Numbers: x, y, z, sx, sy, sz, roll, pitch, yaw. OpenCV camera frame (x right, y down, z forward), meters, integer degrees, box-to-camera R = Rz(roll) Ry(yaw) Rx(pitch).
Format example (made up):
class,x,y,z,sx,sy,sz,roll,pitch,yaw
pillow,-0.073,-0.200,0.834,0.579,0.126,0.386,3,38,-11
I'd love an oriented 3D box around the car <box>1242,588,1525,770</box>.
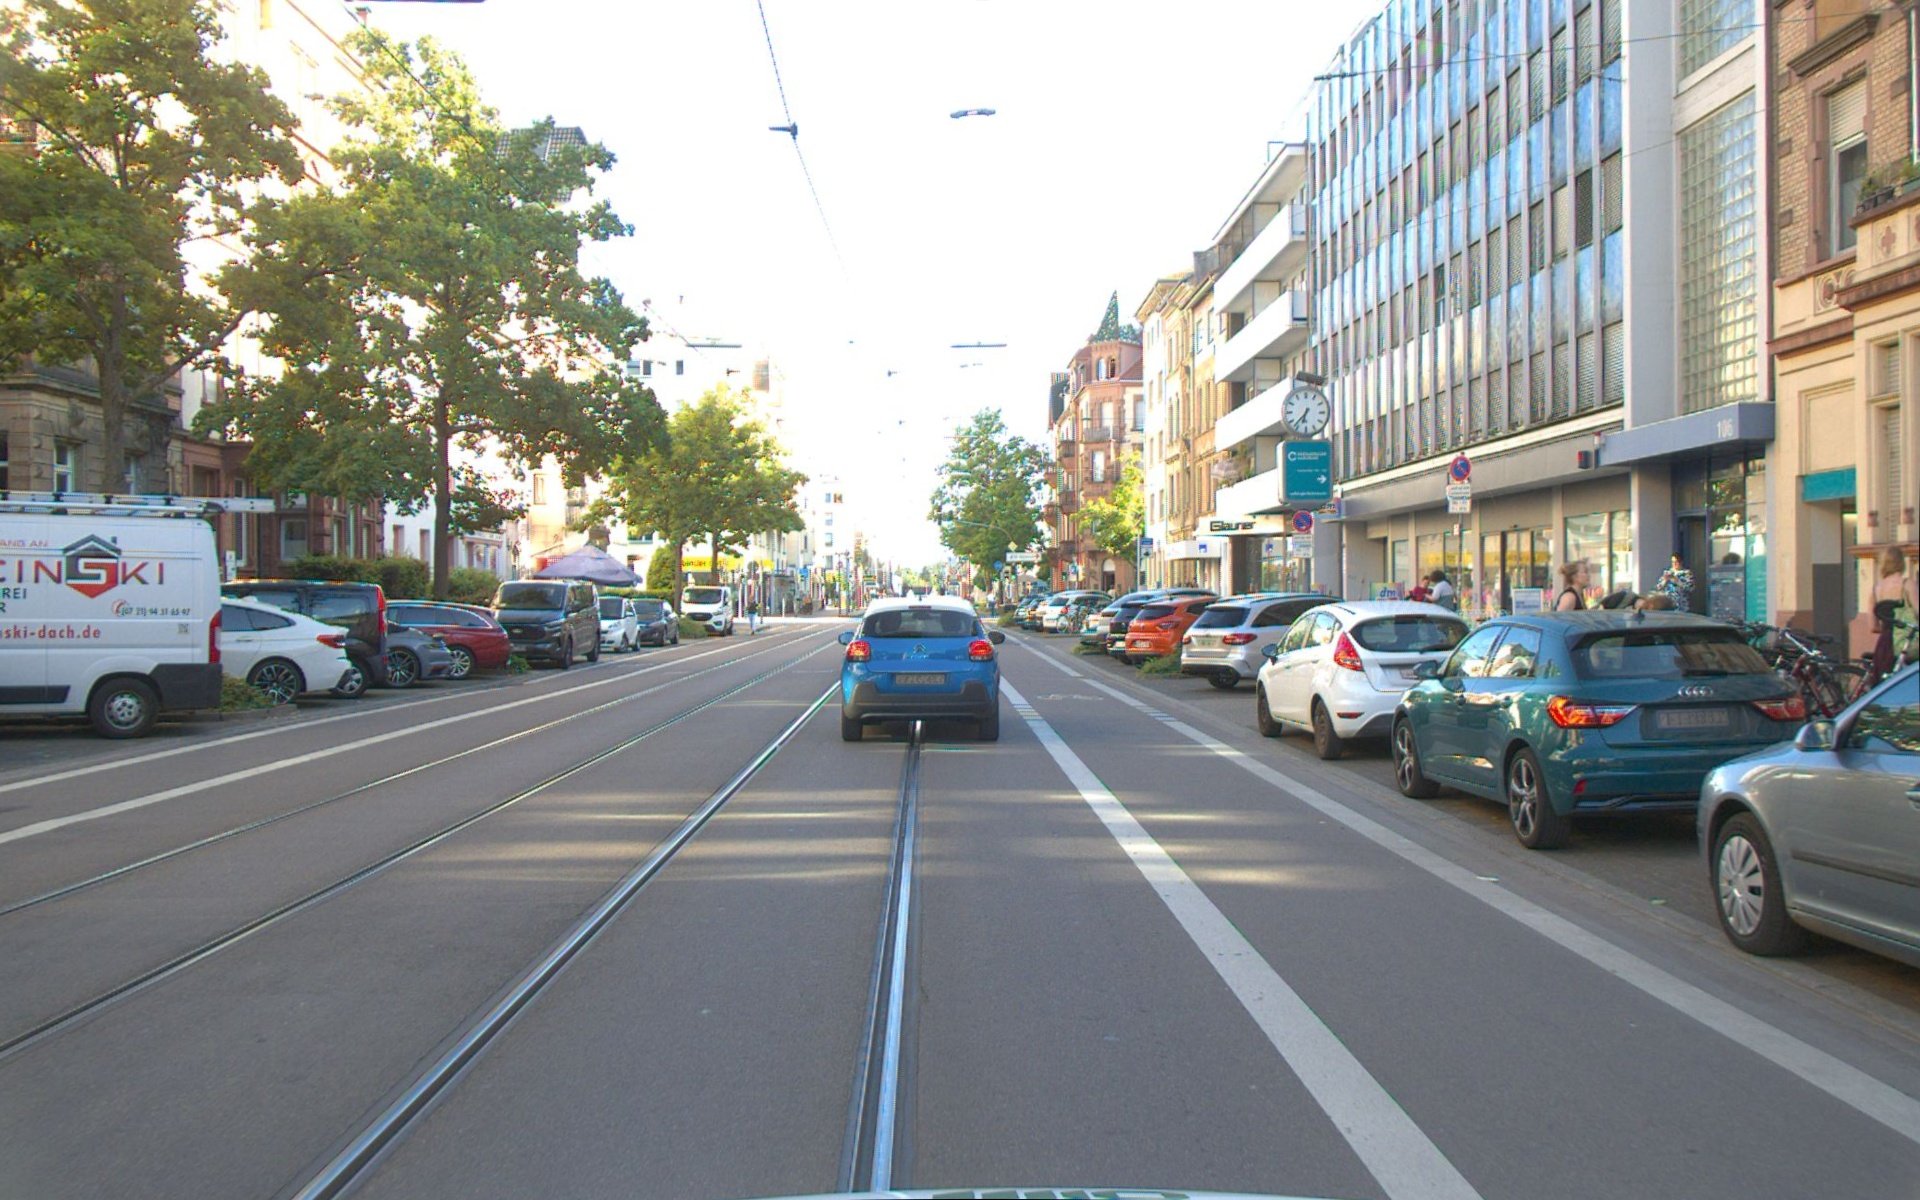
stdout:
class,x,y,z,sx,sy,sz,roll,pitch,yaw
car,4.159,0.722,16.906,1.835,1.624,3.999,0,0,-1

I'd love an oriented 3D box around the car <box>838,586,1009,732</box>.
class,x,y,z,sx,sy,sz,roll,pitch,yaw
car,-0.404,0.607,18.519,1.726,1.466,3.556,0,0,-1

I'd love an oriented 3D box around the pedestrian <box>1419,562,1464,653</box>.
class,x,y,z,sx,sy,sz,roll,pitch,yaw
pedestrian,9.569,0.151,32.900,0.678,1.787,0.678,0,-1,-1

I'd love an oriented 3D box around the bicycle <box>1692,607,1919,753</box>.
class,x,y,z,sx,sy,sz,roll,pitch,yaw
bicycle,7.580,0.693,14.564,1.978,1.243,0.663,0,0,-2

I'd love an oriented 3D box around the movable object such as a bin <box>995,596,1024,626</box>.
class,x,y,z,sx,sy,sz,roll,pitch,yaw
movable object such as a bin,2.508,0.558,84.108,1.366,1.509,1.655,0,0,-1

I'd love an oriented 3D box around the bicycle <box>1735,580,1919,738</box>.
class,x,y,z,sx,sy,sz,roll,pitch,yaw
bicycle,7.669,0.470,13.398,2.487,1.243,0.663,0,0,-2

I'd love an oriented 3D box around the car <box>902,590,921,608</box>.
class,x,y,z,sx,sy,sz,roll,pitch,yaw
car,-3.844,-0.070,131.034,1.394,1.457,3.138,0,0,-1

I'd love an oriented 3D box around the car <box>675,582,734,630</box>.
class,x,y,z,sx,sy,sz,roll,pitch,yaw
car,-10.352,0.230,67.236,1.794,1.880,4.213,0,0,-1

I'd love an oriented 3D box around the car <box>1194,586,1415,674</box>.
class,x,y,z,sx,sy,sz,roll,pitch,yaw
car,6.308,0.529,30.219,3.735,1.513,1.819,1,0,-31

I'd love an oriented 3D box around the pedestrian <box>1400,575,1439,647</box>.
class,x,y,z,sx,sy,sz,roll,pitch,yaw
pedestrian,10.330,0.249,37.232,0.678,1.615,0.678,0,-1,-1

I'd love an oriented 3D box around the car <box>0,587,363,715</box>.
class,x,y,z,sx,sy,sz,roll,pitch,yaw
car,-10.971,0.670,23.084,4.713,1.646,1.692,1,0,-34

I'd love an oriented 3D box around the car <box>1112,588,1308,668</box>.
class,x,y,z,sx,sy,sz,roll,pitch,yaw
car,5.142,0.552,33.921,3.686,1.547,1.945,1,0,-34

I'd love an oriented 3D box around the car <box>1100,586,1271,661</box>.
class,x,y,z,sx,sy,sz,roll,pitch,yaw
car,4.989,0.502,36.532,3.409,1.582,1.804,1,0,-33

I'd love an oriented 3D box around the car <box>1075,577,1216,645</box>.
class,x,y,z,sx,sy,sz,roll,pitch,yaw
car,4.758,0.290,42.190,3.417,1.668,1.662,1,0,-38

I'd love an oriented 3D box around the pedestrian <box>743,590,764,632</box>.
class,x,y,z,sx,sy,sz,roll,pitch,yaw
pedestrian,-8.660,0.461,69.254,0.720,1.756,0.623,1,-1,-25

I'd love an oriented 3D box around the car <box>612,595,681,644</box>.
class,x,y,z,sx,sy,sz,roll,pitch,yaw
car,-10.138,0.614,53.721,1.713,1.513,4.038,0,0,-4

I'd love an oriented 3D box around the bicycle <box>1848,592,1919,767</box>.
class,x,y,z,sx,sy,sz,roll,pitch,yaw
bicycle,7.683,0.559,12.115,2.015,1.243,0.663,0,0,-3

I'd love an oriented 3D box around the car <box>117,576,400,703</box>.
class,x,y,z,sx,sy,sz,roll,pitch,yaw
car,-10.948,0.595,25.892,3.939,1.848,1.698,1,0,-27

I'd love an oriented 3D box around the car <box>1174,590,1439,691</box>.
class,x,y,z,sx,sy,sz,roll,pitch,yaw
car,5.678,0.632,26.925,4.394,1.534,1.520,1,0,-31

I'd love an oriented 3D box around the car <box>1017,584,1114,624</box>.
class,x,y,z,sx,sy,sz,roll,pitch,yaw
car,4.343,0.189,68.281,3.601,1.601,1.850,1,0,-21

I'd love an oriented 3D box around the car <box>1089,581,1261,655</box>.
class,x,y,z,sx,sy,sz,roll,pitch,yaw
car,5.130,0.433,39.442,3.686,1.681,2.024,1,0,-34

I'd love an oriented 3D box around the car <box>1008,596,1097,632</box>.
class,x,y,z,sx,sy,sz,roll,pitch,yaw
car,4.182,0.640,74.873,3.601,1.561,1.778,1,0,-21

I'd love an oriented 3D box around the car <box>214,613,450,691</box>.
class,x,y,z,sx,sy,sz,roll,pitch,yaw
car,-11.013,0.887,29.017,3.751,1.287,1.503,1,0,-27

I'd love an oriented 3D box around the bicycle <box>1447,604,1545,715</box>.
class,x,y,z,sx,sy,sz,roll,pitch,yaw
bicycle,6.047,0.657,18.714,0.679,1.206,1.238,0,0,-1

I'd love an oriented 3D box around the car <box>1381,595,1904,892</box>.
class,x,y,z,sx,sy,sz,roll,pitch,yaw
car,4.277,0.800,11.117,1.835,1.624,3.999,0,0,-1

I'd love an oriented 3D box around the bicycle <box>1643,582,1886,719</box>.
class,x,y,z,sx,sy,sz,roll,pitch,yaw
bicycle,7.537,0.466,15.543,1.978,1.243,0.663,0,0,-2

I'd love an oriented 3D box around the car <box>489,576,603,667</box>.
class,x,y,z,sx,sy,sz,roll,pitch,yaw
car,-9.717,0.493,39.202,1.713,2.008,5.236,0,0,-4

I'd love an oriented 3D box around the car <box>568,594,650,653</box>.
class,x,y,z,sx,sy,sz,roll,pitch,yaw
car,-10.202,0.670,48.312,1.713,1.646,4.407,0,0,-4

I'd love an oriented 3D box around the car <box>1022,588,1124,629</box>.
class,x,y,z,sx,sy,sz,roll,pitch,yaw
car,4.474,0.346,65.403,3.601,1.601,1.850,1,0,-21

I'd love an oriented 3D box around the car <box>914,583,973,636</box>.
class,x,y,z,sx,sy,sz,roll,pitch,yaw
car,-0.523,0.296,53.409,1.835,1.624,3.999,0,0,-1

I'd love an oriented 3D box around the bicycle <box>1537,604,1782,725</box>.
class,x,y,z,sx,sy,sz,roll,pitch,yaw
bicycle,7.390,0.669,17.539,2.309,1.243,0.664,0,0,2

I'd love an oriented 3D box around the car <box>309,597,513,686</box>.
class,x,y,z,sx,sy,sz,roll,pitch,yaw
car,-10.724,0.790,32.286,3.672,1.651,1.777,1,0,-22

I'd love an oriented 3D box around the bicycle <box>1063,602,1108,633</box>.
class,x,y,z,sx,sy,sz,roll,pitch,yaw
bicycle,4.397,0.618,58.138,0.549,1.066,1.785,1,0,-36

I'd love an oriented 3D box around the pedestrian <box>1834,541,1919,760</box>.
class,x,y,z,sx,sy,sz,roll,pitch,yaw
pedestrian,7.238,0.377,12.700,0.697,1.635,0.654,0,-1,-2

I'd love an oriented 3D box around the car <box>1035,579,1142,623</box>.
class,x,y,z,sx,sy,sz,roll,pitch,yaw
car,4.837,0.062,62.233,3.615,1.601,1.843,1,0,-30

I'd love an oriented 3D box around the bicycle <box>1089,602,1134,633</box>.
class,x,y,z,sx,sy,sz,roll,pitch,yaw
bicycle,5.395,0.621,58.894,0.549,1.066,1.785,1,0,-36

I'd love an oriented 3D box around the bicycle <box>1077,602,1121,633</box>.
class,x,y,z,sx,sy,sz,roll,pitch,yaw
bicycle,4.908,0.623,58.505,0.549,1.066,1.785,1,0,-36

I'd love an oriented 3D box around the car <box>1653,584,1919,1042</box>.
class,x,y,z,sx,sy,sz,roll,pitch,yaw
car,4.329,0.762,5.746,1.835,1.624,4.718,0,0,-1

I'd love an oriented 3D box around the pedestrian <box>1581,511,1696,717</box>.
class,x,y,z,sx,sy,sz,roll,pitch,yaw
pedestrian,5.750,0.116,14.035,0.697,1.701,0.654,0,-1,-2

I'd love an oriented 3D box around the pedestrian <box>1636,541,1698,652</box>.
class,x,y,z,sx,sy,sz,roll,pitch,yaw
pedestrian,11.797,-0.055,27.612,0.705,1.837,0.726,0,-1,-1

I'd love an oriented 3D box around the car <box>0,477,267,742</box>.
class,x,y,z,sx,sy,sz,roll,pitch,yaw
car,-10.636,0.099,18.268,5.316,2.797,1.787,1,0,-31
